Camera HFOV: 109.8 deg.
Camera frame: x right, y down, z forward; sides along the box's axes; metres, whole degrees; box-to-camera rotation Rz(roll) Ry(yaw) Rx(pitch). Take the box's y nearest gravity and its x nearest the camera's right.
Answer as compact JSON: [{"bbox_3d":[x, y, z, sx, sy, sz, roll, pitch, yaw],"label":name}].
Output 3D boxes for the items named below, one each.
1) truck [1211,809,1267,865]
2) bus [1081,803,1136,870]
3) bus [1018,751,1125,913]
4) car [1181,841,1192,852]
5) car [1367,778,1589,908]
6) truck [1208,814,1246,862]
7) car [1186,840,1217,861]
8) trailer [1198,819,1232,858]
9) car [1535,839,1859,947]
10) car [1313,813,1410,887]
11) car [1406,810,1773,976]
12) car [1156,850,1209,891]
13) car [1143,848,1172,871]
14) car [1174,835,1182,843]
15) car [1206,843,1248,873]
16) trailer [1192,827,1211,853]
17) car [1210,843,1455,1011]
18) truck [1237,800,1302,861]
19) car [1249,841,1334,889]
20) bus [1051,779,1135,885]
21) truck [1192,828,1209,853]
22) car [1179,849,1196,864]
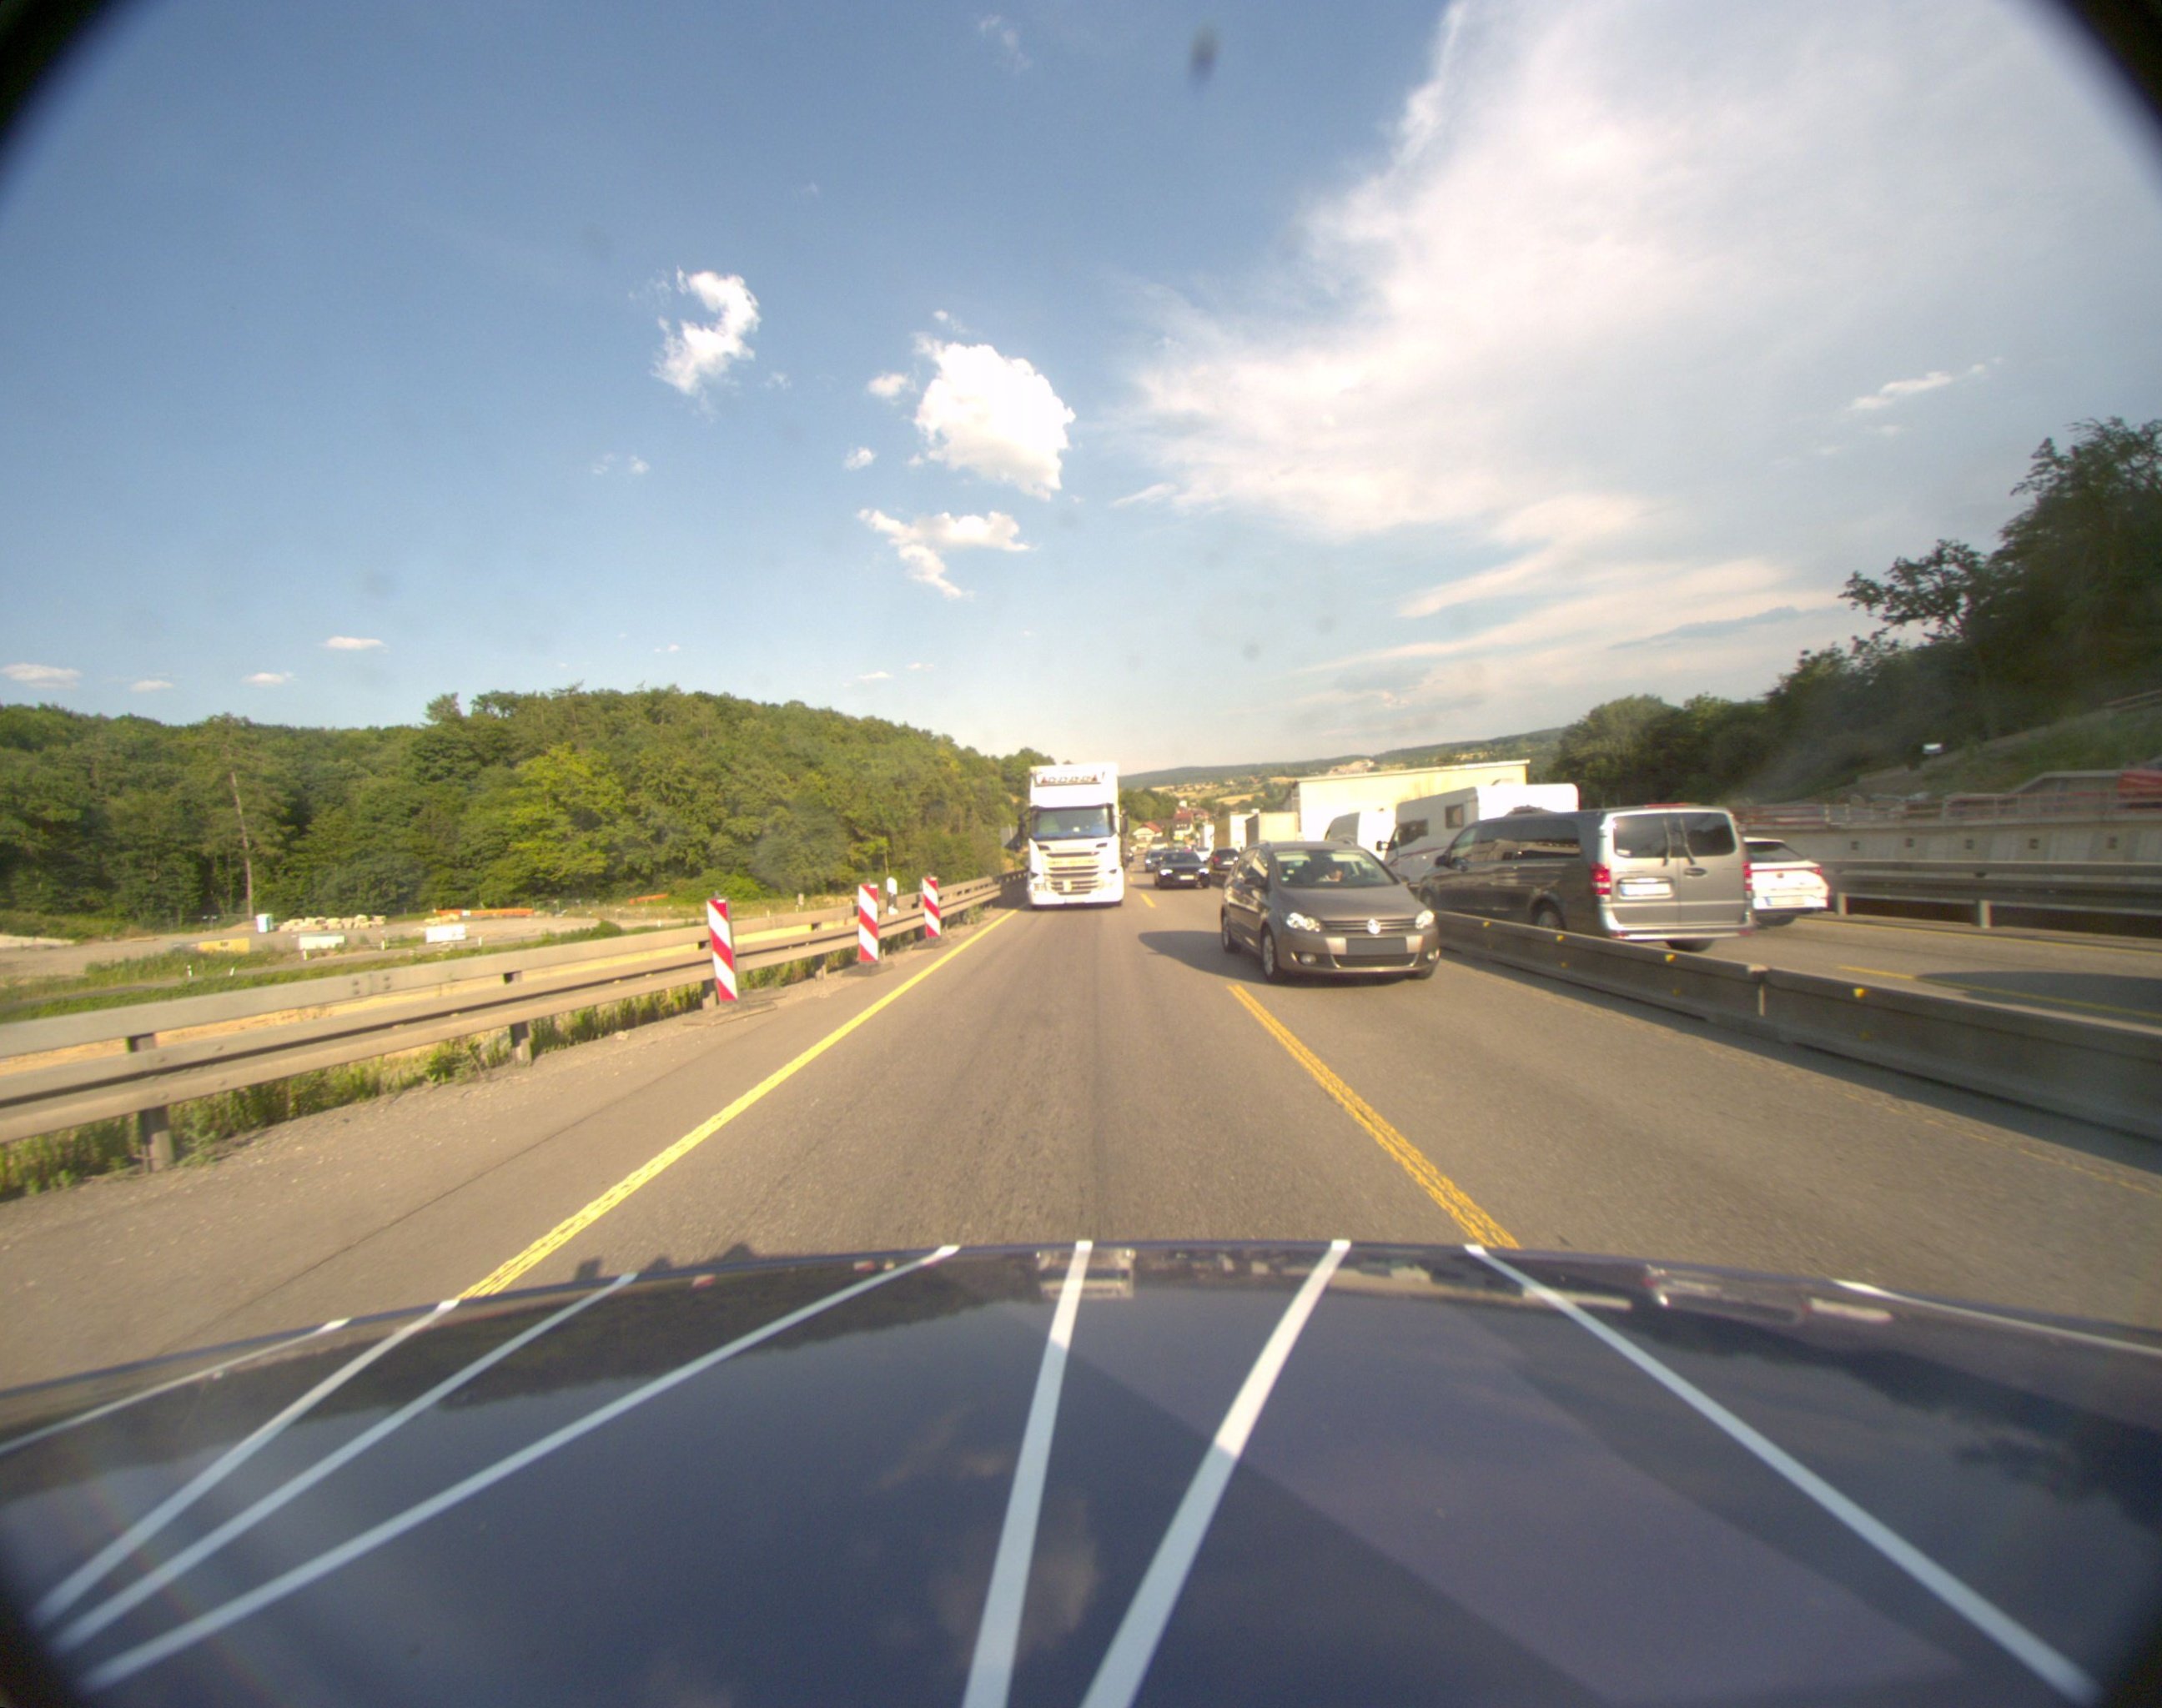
[{"bbox_3d":[12.805,-1.336,62.827,2.713,4.065,14.155,-1,1,4],"label":"truck"},{"bbox_3d":[2.317,-1.264,58.524,2.983,4.553,10.909,-2,0,8],"label":"bus"},{"bbox_3d":[0.042,-0.646,25.019,2.635,4.077,11.314,-1,1,3],"label":"bus"},{"bbox_3d":[19.013,-1.442,136.970,1.866,1.899,4.001,-1,1,6],"label":"car"},{"bbox_3d":[10.444,-0.318,21.062,2.340,2.901,7.632,-1,1,2],"label":"car"},{"bbox_3d":[13.303,-1.449,69.629,2.719,4.065,6.102,-1,1,4],"label":"truck"},{"bbox_3d":[9.302,-0.249,59.142,2.062,1.478,4.728,1,0,5],"label":"car"},{"bbox_3d":[15.506,-1.789,88.673,2.863,4.013,13.974,-2,1,6],"label":"trailer"},{"bbox_3d":[9.852,0.504,12.763,1.753,1.414,4.609,-3,1,1],"label":"car"},{"bbox_3d":[10.876,-0.189,29.920,1.961,2.606,5.749,-1,1,3],"label":"car"},{"bbox_3d":[6.739,0.459,11.065,1.809,1.761,5.454,-2,-1,2],"label":"car"},{"bbox_3d":[3.850,0.593,29.425,1.866,1.391,4.001,-1,1,6],"label":"car"},{"bbox_3d":[5.163,0.369,50.923,1.697,1.390,4.002,-3,0,7],"label":"car"},{"bbox_3d":[26.632,-4.100,208.648,1.821,1.988,4.756,0,0,2],"label":"car"},{"bbox_3d":[8.311,0.248,43.544,1.786,1.513,4.001,-4,-1,3],"label":"car"},{"bbox_3d":[19.053,-2.157,120.483,2.602,3.858,10.581,-2,1,7],"label":"trailer"},{"bbox_3d":[2.791,0.687,9.438,1.688,1.565,4.099,-2,1,1],"label":"car"},{"bbox_3d":[11.803,-1.404,48.231,2.453,3.443,7.618,-2,1,3],"label":"truck"},{"bbox_3d":[7.316,0.374,26.854,1.821,1.569,4.756,0,0,2],"label":"car"},{"bbox_3d":[0.872,-0.980,38.418,2.983,4.553,9.972,-2,0,7],"label":"bus"},{"bbox_3d":[19.675,-2.239,125.332,2.604,3.865,6.205,-2,1,7],"label":"truck"},{"bbox_3d":[11.571,0.219,82.420,1.657,1.514,4.289,-2,1,8],"label":"car"}]
